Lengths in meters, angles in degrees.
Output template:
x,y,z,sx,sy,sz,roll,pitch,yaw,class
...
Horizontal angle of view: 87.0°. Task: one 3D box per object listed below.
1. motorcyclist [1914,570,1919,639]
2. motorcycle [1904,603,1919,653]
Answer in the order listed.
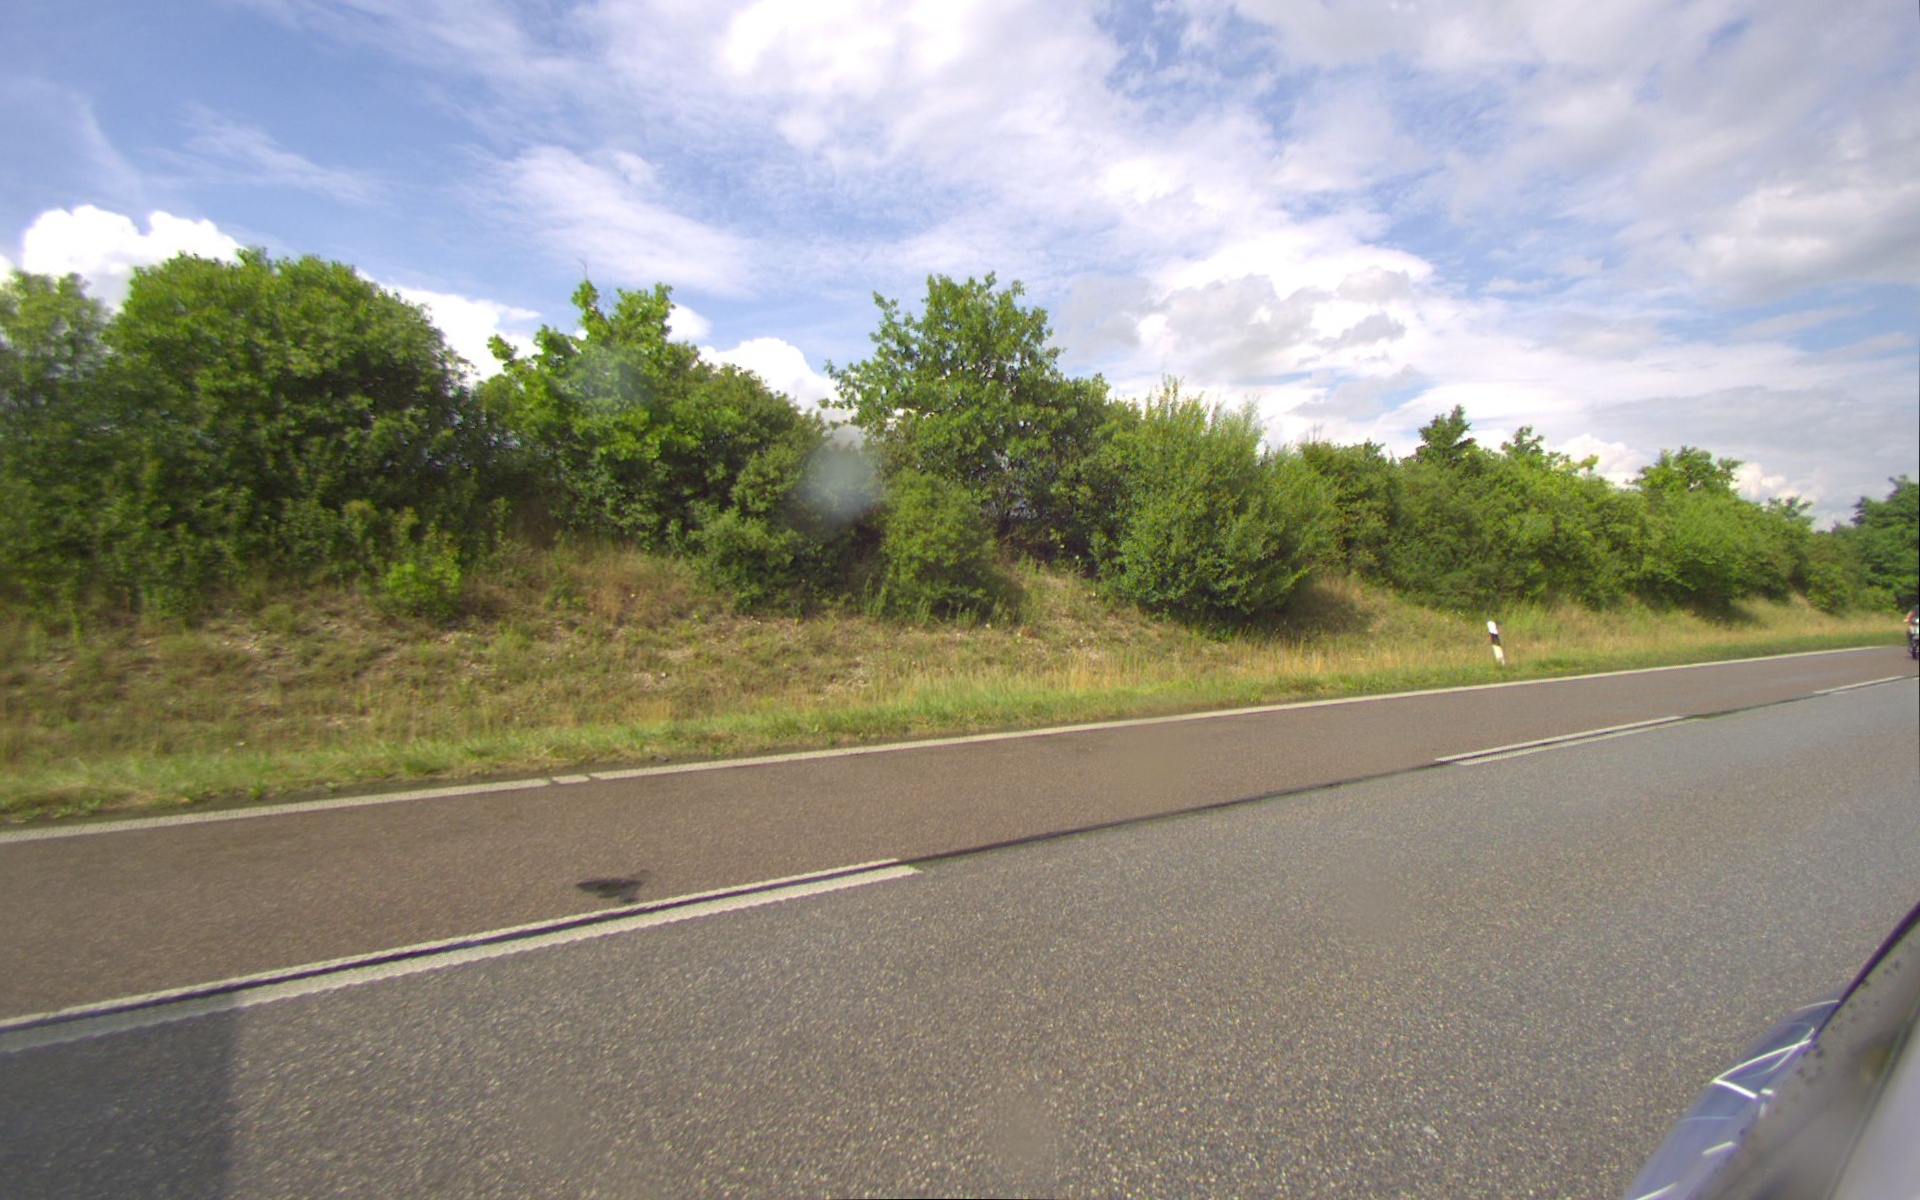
x,y,z,sx,sy,sz,roll,pitch,yaw,class
24.682,0.102,25.433,0.983,1.728,0.883,-1,0,-39,motorcyclist
24.881,0.686,25.529,3.138,1.163,1.187,-1,0,-40,motorcycle
